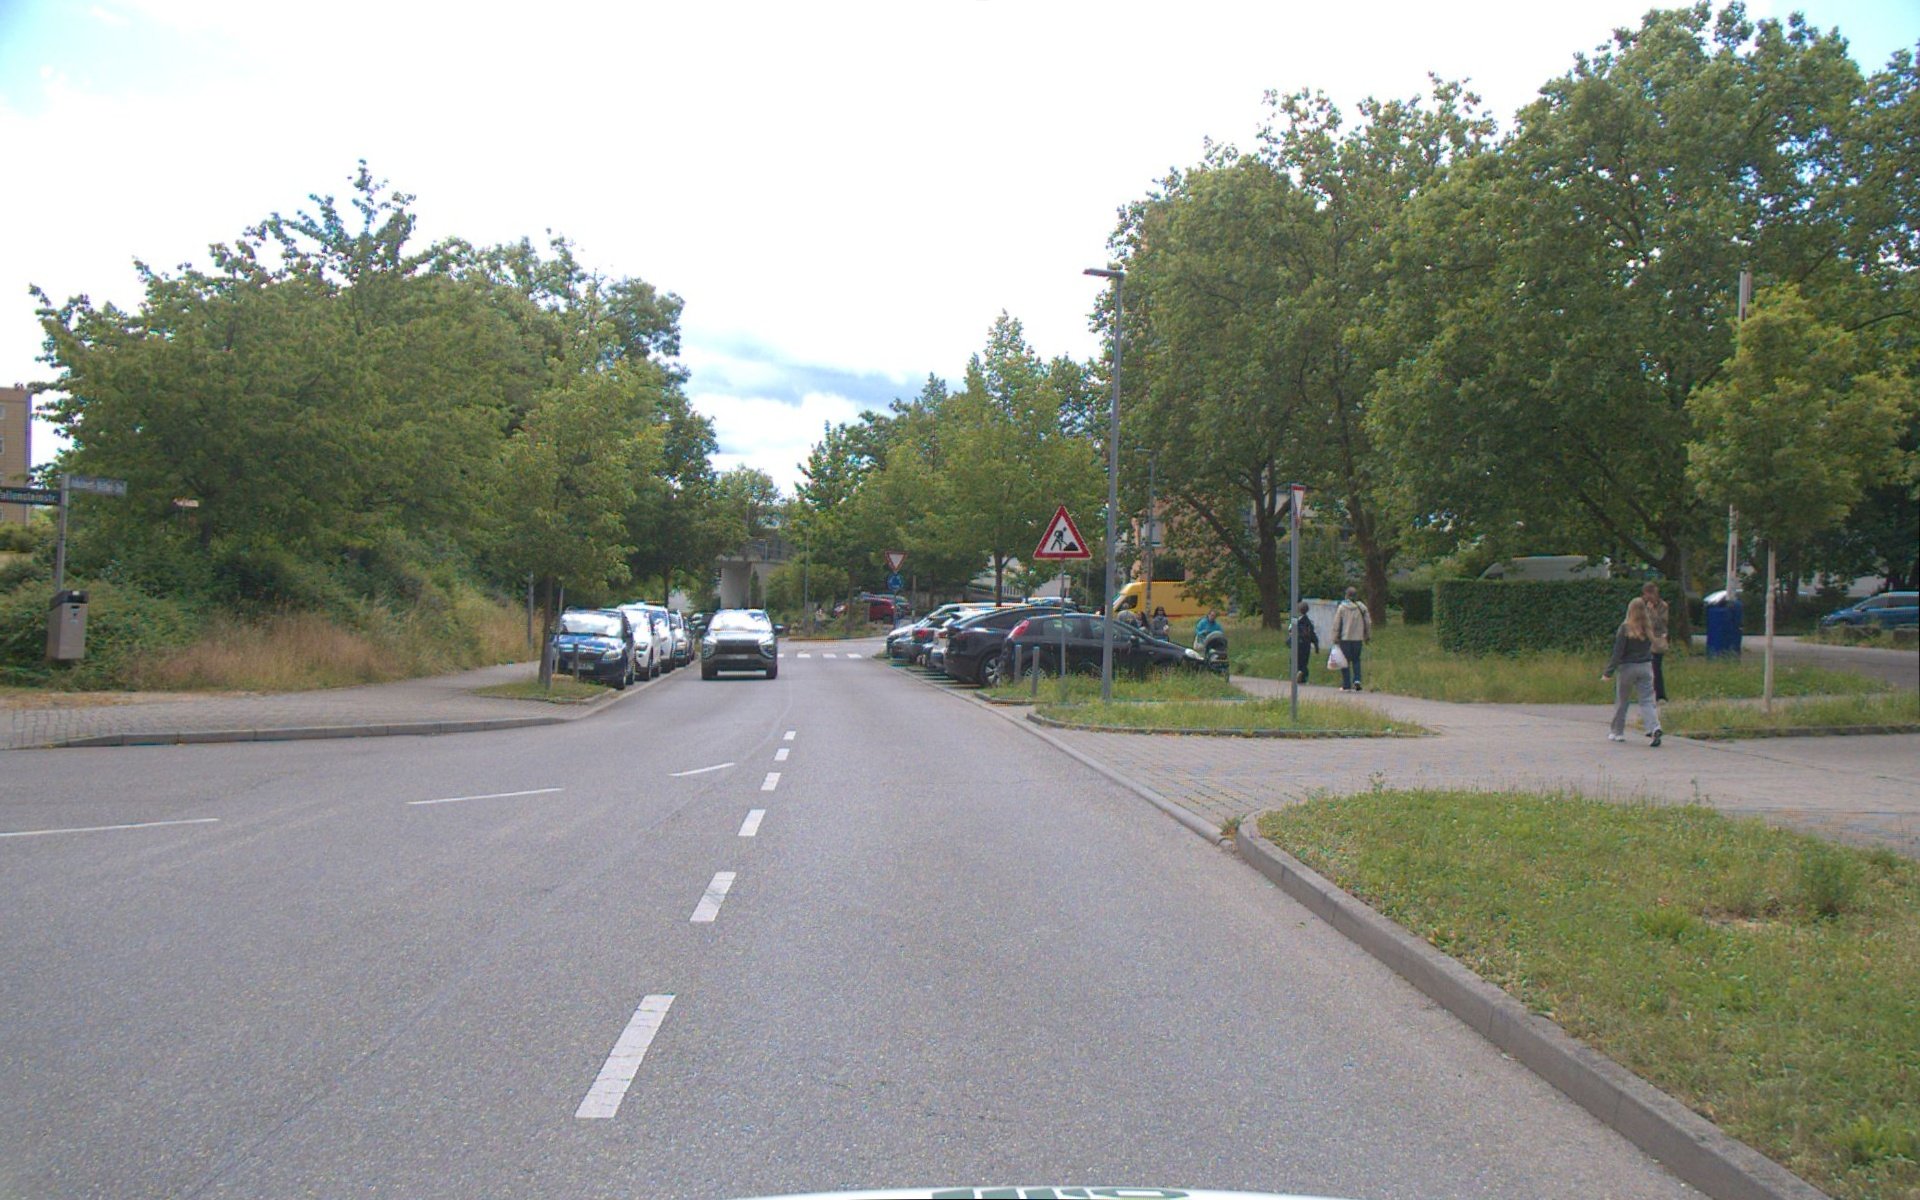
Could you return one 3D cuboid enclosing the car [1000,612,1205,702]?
[{"bbox_3d":[2.640,1.056,31.085,3.598,1.524,1.644,2,1,-4],"label":"car"}]

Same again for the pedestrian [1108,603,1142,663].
[{"bbox_3d":[4.741,0.942,47.494,0.853,1.686,0.592,1,-1,-7],"label":"pedestrian"}]

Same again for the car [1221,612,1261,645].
[{"bbox_3d":[15.043,1.519,88.742,1.536,1.688,3.777,-2,0,1],"label":"car"}]

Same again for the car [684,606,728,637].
[{"bbox_3d":[-16.505,1.420,107.358,1.790,1.708,4.336,0,-4,-24],"label":"car"}]

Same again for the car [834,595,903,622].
[{"bbox_3d":[-6.030,0.570,109.371,4.453,1.697,1.943,1,0,-3],"label":"car"}]

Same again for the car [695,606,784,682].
[{"bbox_3d":[-5.433,1.025,40.373,1.862,1.610,4.157,-4,1,-10],"label":"car"}]

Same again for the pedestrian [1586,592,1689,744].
[{"bbox_3d":[7.586,0.746,18.547,0.674,1.649,0.930,1,0,-8],"label":"pedestrian"}]

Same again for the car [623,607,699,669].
[{"bbox_3d":[-8.907,1.102,49.548,1.764,1.643,4.472,4,-1,-6],"label":"car"}]

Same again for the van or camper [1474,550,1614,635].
[{"bbox_3d":[20.197,-0.276,57.188,4.377,2.847,2.113,1,0,25],"label":"van or camper"}]

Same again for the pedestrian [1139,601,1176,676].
[{"bbox_3d":[4.877,0.954,40.890,0.725,1.824,0.877,1,-1,-5],"label":"pedestrian"}]

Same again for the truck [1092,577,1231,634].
[{"bbox_3d":[10.172,0.274,83.810,6.666,2.749,2.473,1,1,-3],"label":"truck"}]

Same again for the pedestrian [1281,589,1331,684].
[{"bbox_3d":[6.830,0.715,32.675,0.725,1.824,0.877,1,-1,-5],"label":"pedestrian"}]

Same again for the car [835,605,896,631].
[{"bbox_3d":[-5.652,1.070,99.090,3.575,1.464,1.684,1,0,-1],"label":"car"}]

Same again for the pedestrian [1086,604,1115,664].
[{"bbox_3d":[4.027,0.964,47.400,0.675,1.686,0.599,1,-1,-7],"label":"pedestrian"}]

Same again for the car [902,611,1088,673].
[{"bbox_3d":[0.870,1.064,42.651,4.492,1.518,1.947,0,-1,-11],"label":"car"}]

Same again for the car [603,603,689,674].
[{"bbox_3d":[-8.276,0.982,43.916,1.772,1.693,4.431,4,-1,-6],"label":"car"}]

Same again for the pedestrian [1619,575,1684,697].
[{"bbox_3d":[10.107,0.518,24.183,0.640,1.741,0.706,1,-1,0],"label":"pedestrian"}]

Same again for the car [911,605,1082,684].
[{"bbox_3d":[0.753,0.955,36.046,3.598,1.676,1.850,0,0,-4],"label":"car"}]

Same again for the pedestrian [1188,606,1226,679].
[{"bbox_3d":[5.168,0.881,34.582,0.606,1.494,0.735,1,-1,-5],"label":"pedestrian"}]

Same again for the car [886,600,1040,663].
[{"bbox_3d":[0.064,0.991,52.693,4.684,1.864,1.840,-1,-1,-8],"label":"car"}]

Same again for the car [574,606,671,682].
[{"bbox_3d":[-7.708,0.968,38.091,1.657,1.537,4.225,4,-1,-6],"label":"car"}]

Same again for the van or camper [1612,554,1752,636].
[{"bbox_3d":[25.989,-0.199,59.553,4.383,2.847,2.110,1,0,31],"label":"van or camper"}]

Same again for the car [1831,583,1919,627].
[{"bbox_3d":[35.002,0.191,62.241,3.912,1.601,1.762,1,0,30],"label":"car"}]

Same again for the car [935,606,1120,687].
[{"bbox_3d":[1.326,0.936,33.406,3.598,1.602,1.592,0,-1,-4],"label":"car"}]

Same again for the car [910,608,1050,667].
[{"bbox_3d":[0.534,1.053,47.046,3.752,1.546,1.909,-1,-1,-7],"label":"car"}]

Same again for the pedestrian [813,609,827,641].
[{"bbox_3d":[-7.699,1.375,90.863,0.644,1.752,0.739,1,-1,2],"label":"pedestrian"}]

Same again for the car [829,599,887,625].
[{"bbox_3d":[-6.422,0.747,104.363,3.575,1.524,1.684,1,0,-1],"label":"car"}]

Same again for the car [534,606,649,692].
[{"bbox_3d":[-7.312,0.937,33.128,1.657,1.513,3.949,4,-1,-5],"label":"car"}]

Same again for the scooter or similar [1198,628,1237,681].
[{"bbox_3d":[5.245,1.105,33.732,0.568,1.041,0.943,1,0,-5],"label":"scooter or similar"}]

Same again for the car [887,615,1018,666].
[{"bbox_3d":[-0.252,1.193,49.505,3.750,1.395,1.841,-1,-1,-5],"label":"car"}]

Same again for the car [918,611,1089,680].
[{"bbox_3d":[1.020,1.065,38.986,3.905,1.546,1.884,1,-1,0],"label":"car"}]

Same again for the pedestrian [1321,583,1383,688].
[{"bbox_3d":[6.936,0.618,29.287,0.815,1.824,0.877,1,-1,-5],"label":"pedestrian"}]
